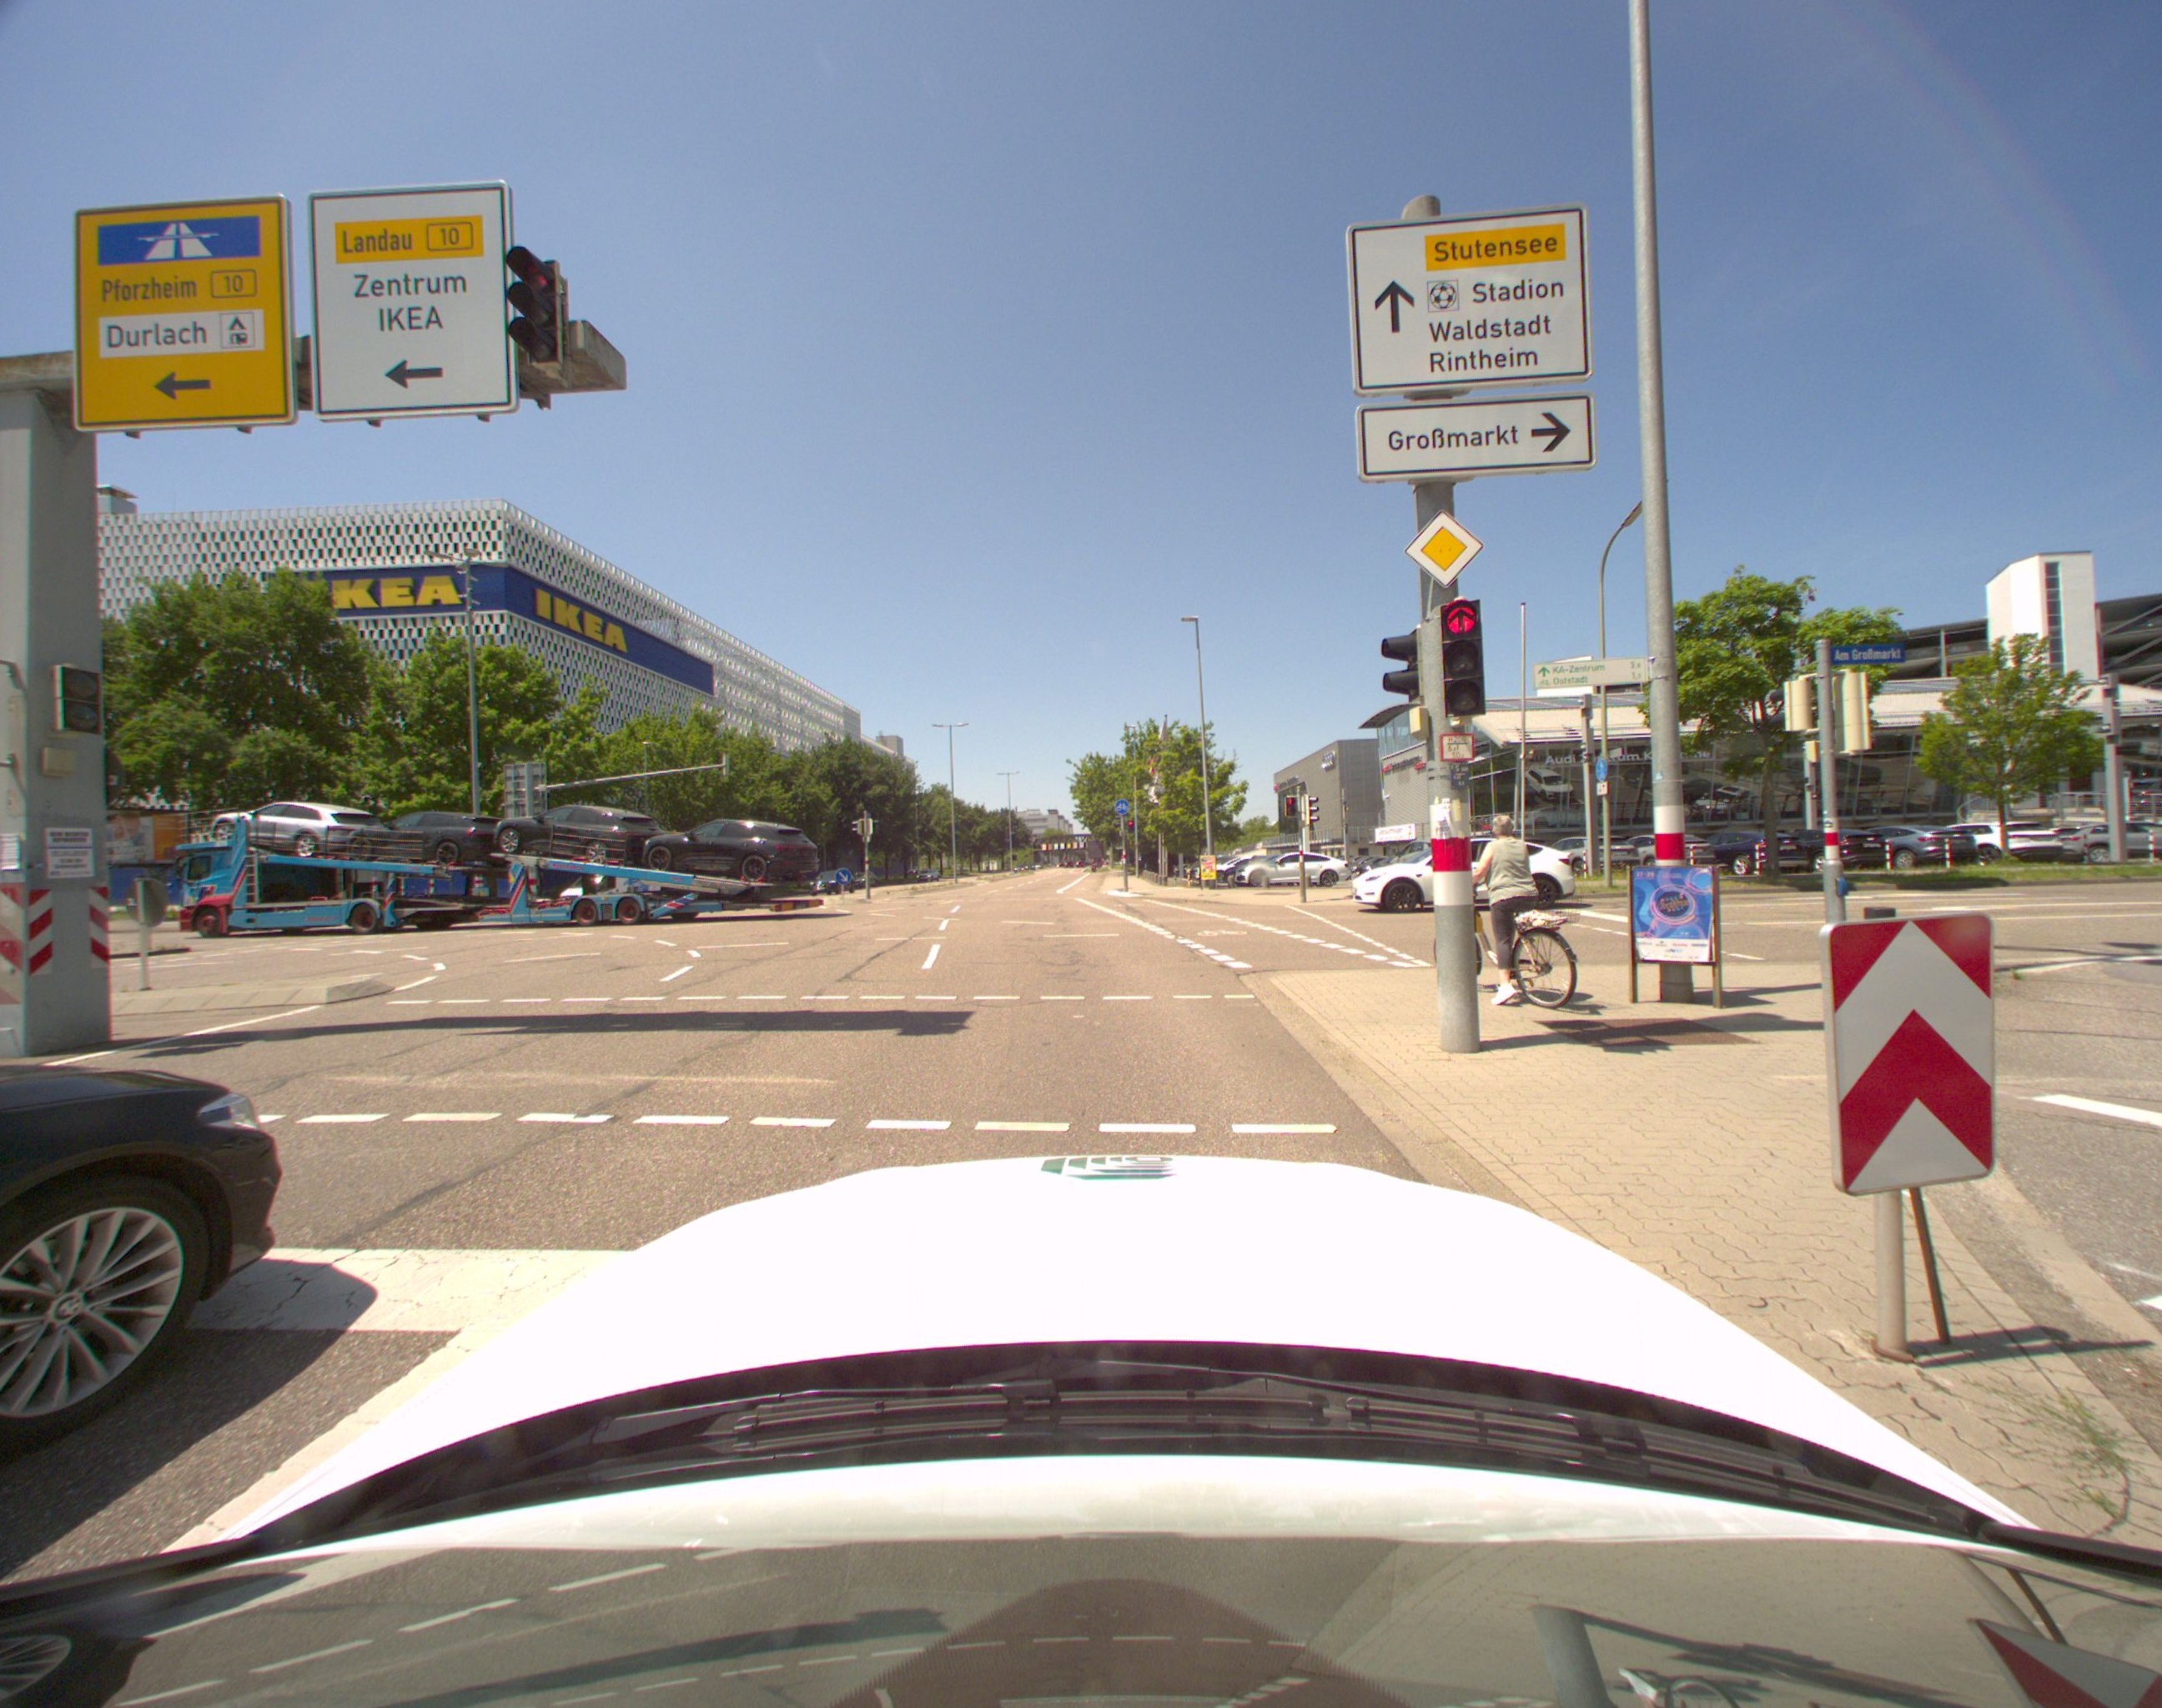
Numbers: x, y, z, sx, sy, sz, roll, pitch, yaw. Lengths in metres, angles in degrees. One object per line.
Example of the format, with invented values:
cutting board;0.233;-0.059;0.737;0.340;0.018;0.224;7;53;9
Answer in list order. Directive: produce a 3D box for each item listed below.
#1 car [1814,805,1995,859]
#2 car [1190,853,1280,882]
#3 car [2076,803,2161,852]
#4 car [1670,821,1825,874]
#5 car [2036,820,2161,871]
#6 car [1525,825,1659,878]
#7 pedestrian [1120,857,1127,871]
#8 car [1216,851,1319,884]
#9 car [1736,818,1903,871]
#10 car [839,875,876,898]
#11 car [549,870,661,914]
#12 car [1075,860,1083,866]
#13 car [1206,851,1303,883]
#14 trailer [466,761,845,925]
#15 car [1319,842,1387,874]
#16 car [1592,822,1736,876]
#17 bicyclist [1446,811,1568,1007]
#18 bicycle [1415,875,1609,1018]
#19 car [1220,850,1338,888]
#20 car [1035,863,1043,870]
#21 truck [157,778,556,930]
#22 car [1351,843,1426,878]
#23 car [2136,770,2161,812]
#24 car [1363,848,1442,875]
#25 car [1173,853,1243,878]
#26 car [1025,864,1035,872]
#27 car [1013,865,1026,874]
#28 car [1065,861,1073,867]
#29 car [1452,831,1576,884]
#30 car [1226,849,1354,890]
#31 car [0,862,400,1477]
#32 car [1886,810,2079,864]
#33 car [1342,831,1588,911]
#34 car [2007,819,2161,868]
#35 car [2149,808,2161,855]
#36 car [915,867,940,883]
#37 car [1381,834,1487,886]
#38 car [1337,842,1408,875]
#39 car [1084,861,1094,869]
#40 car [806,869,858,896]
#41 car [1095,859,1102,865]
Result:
car;28.518;-0.724;28.449;1.821;1.639;4.476;-3;0;2
car;8.731;0.739;46.475;4.726;1.457;2.000;-2;0;0
car;46.567;-1.185;35.462;3.728;2.013;1.866;-2;-1;11
car;23.182;-0.225;28.578;1.821;1.639;4.476;-3;0;2
car;39.162;-0.345;30.698;3.665;1.777;1.759;-3;-1;28
car;17.919;-0.083;28.848;1.986;1.639;4.443;-3;0;2
pedestrian;4.722;1.087;89.931;0.665;1.510;0.736;-2;-1;1
car;9.174;0.648;40.422;4.721;1.457;2.002;-2;0;3
car;25.621;-0.327;28.496;1.821;1.639;4.476;-2;0;1
car;-20.768;3.024;75.818;1.984;2.014;4.005;-2;-2;5
car;-24.697;1.929;42.495;1.976;2.008;4.789;-3;-1;21
car;-0.500;2.410;220.297;1.765;1.728;4.001;-3;-1;2
car;9.253;0.683;43.691;4.726;1.457;2.000;-2;0;0
trailer;-12.018;-0.208;23.328;9.553;4.081;3.103;-2;-1;9
car;18.699;0.292;56.176;3.971;2.013;2.001;-2;-1;2
car;20.316;-0.171;28.639;1.878;1.639;4.526;-3;0;2
bicyclist;4.006;0.491;7.711;0.732;1.749;0.753;-1;0;-3
bicycle;4.037;0.804;7.835;0.784;1.127;1.919;-1;0;-2
car;8.635;0.654;35.843;4.721;1.457;2.002;-2;-1;3
car;-10.247;3.039;198.996;1.645;1.653;4.160;-2;0;-2
truck;-22.010;0.085;24.926;10.553;4.083;3.109;-2;-1;9
car;19.289;0.400;51.235;3.971;2.013;2.001;-2;-1;2
car;54.857;-3.217;39.531;1.989;2.013;3.995;-2;0;-3
car;19.265;0.422;48.891;4.076;1.460;1.720;-2;0;2
car;9.133;0.813;58.881;4.726;1.457;2.000;-3;0;0
car;-10.166;2.768;162.304;1.678;1.411;3.666;-3;-1;2
car;-10.564;2.724;139.870;1.725;1.427;3.707;-4;-1;2
car;-3.333;2.811;224.508;1.765;1.728;4.001;-3;-1;2
car;15.071;0.109;28.674;1.986;1.639;4.559;-2;0;2
car;8.433;0.621;33.175;4.721;1.457;2.002;-2;0;3
car;-3.524;0.778;0.767;1.793;1.466;4.624;-1;0;1
car;31.181;-0.563;28.408;1.821;1.639;4.476;-3;0;2
car;8.569;0.392;18.574;4.654;1.588;2.004;-2;-1;7
car;40.510;-0.393;32.869;3.720;1.772;1.781;-3;-1;32
car;39.407;-0.870;26.866;4.705;1.639;1.844;-3;0;24
car;-18.250;2.495;97.066;1.918;1.665;4.094;-3;-1;4
car;12.386;0.190;28.924;1.986;1.639;4.270;-2;0;2
car;19.306;0.296;54.054;3.971;2.013;2.001;-2;-1;2
car;1.043;1.431;105.577;1.133;1.042;2.309;-2;0;2
car;-16.284;1.852;53.549;1.868;1.598;4.498;-3;-1;2
car;4.771;2.192;220.954;1.765;1.728;4.001;-3;-1;2
